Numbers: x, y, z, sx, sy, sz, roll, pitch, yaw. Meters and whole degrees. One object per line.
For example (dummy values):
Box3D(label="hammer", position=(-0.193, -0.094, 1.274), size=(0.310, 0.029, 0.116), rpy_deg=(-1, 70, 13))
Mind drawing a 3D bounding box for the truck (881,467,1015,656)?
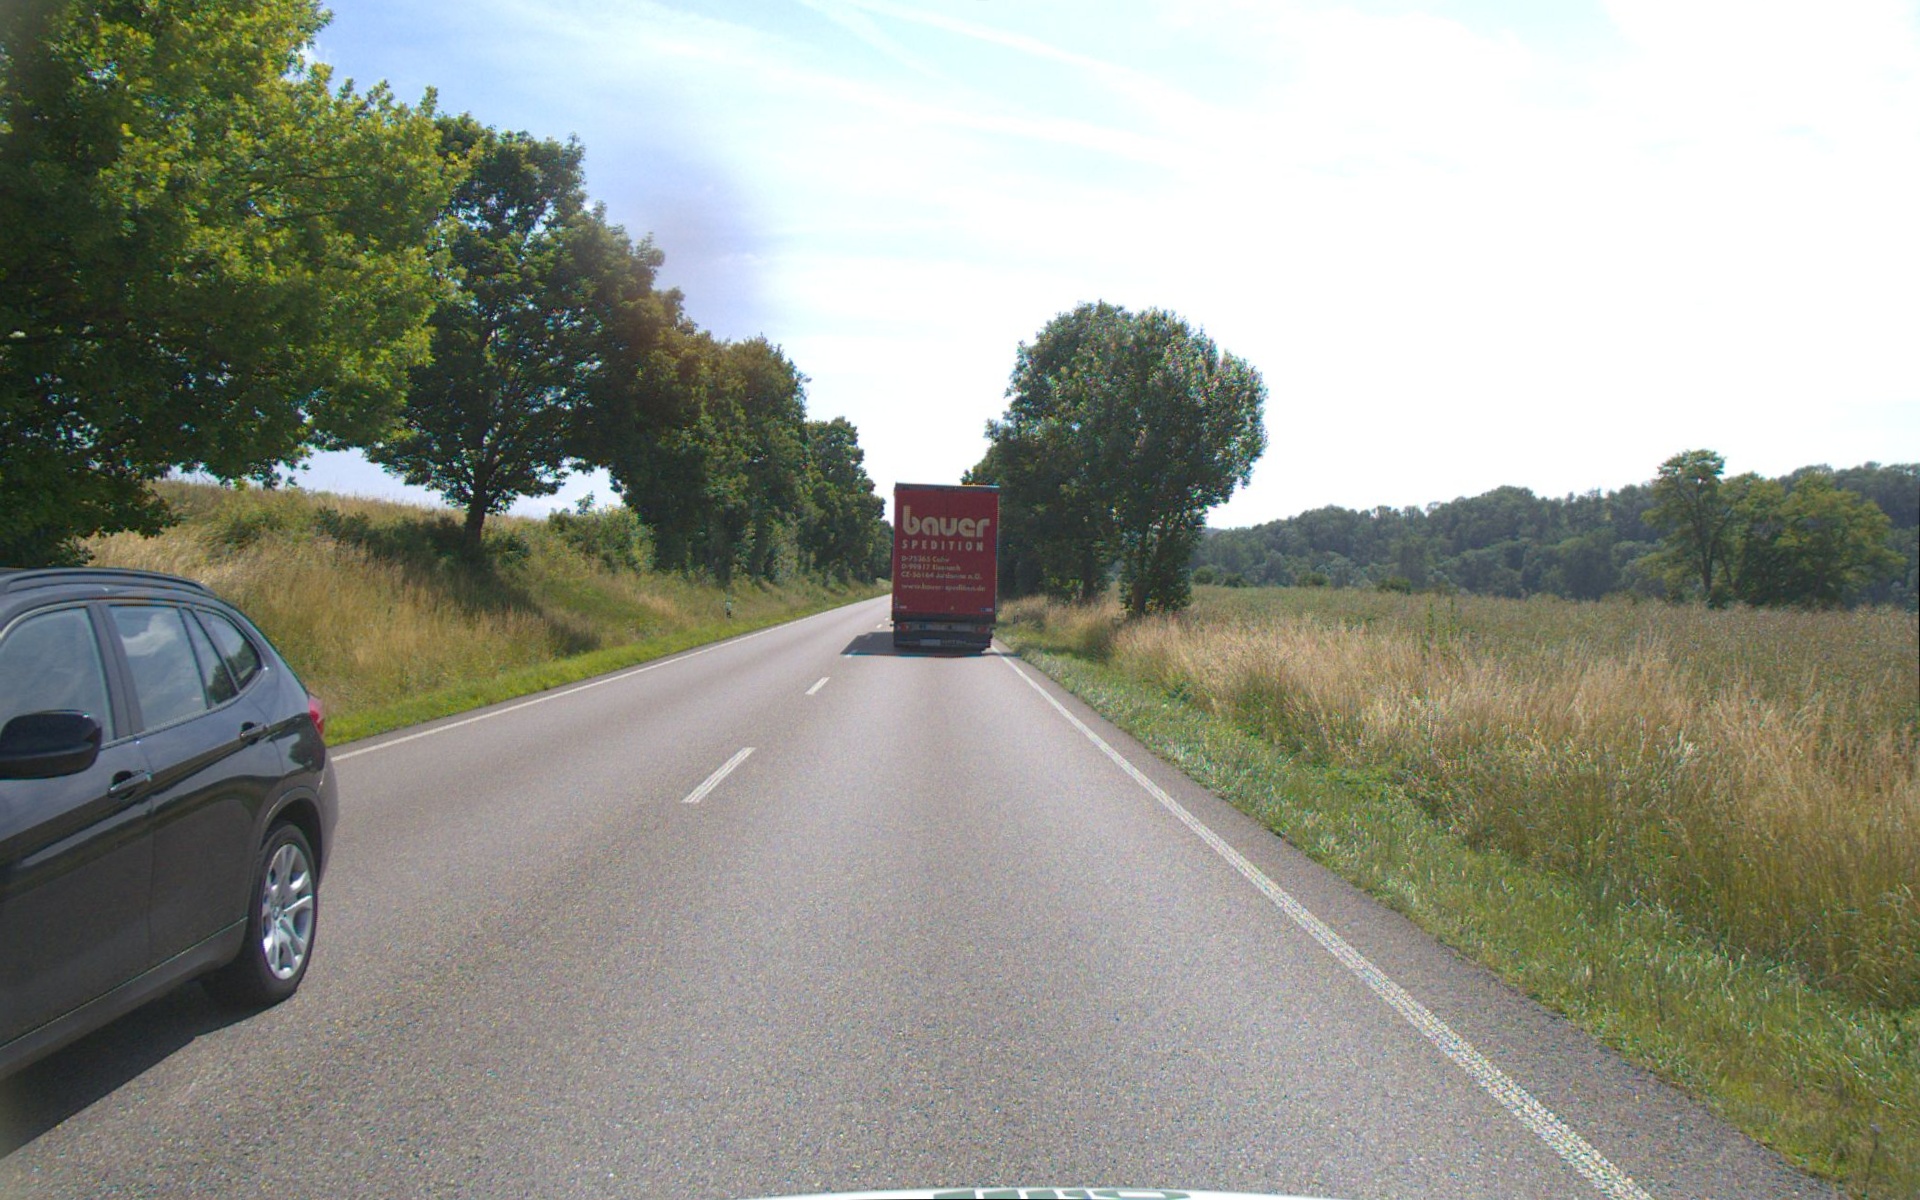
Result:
Box3D(label="truck", position=(-0.227, -0.946, 43.054), size=(3.031, 4.337, 8.315), rpy_deg=(2, 0, 1))

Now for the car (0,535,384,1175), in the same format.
Box3D(label="car", position=(-3.165, 0.617, 4.674), size=(1.623, 1.561, 4.357), rpy_deg=(0, 0, -1))
